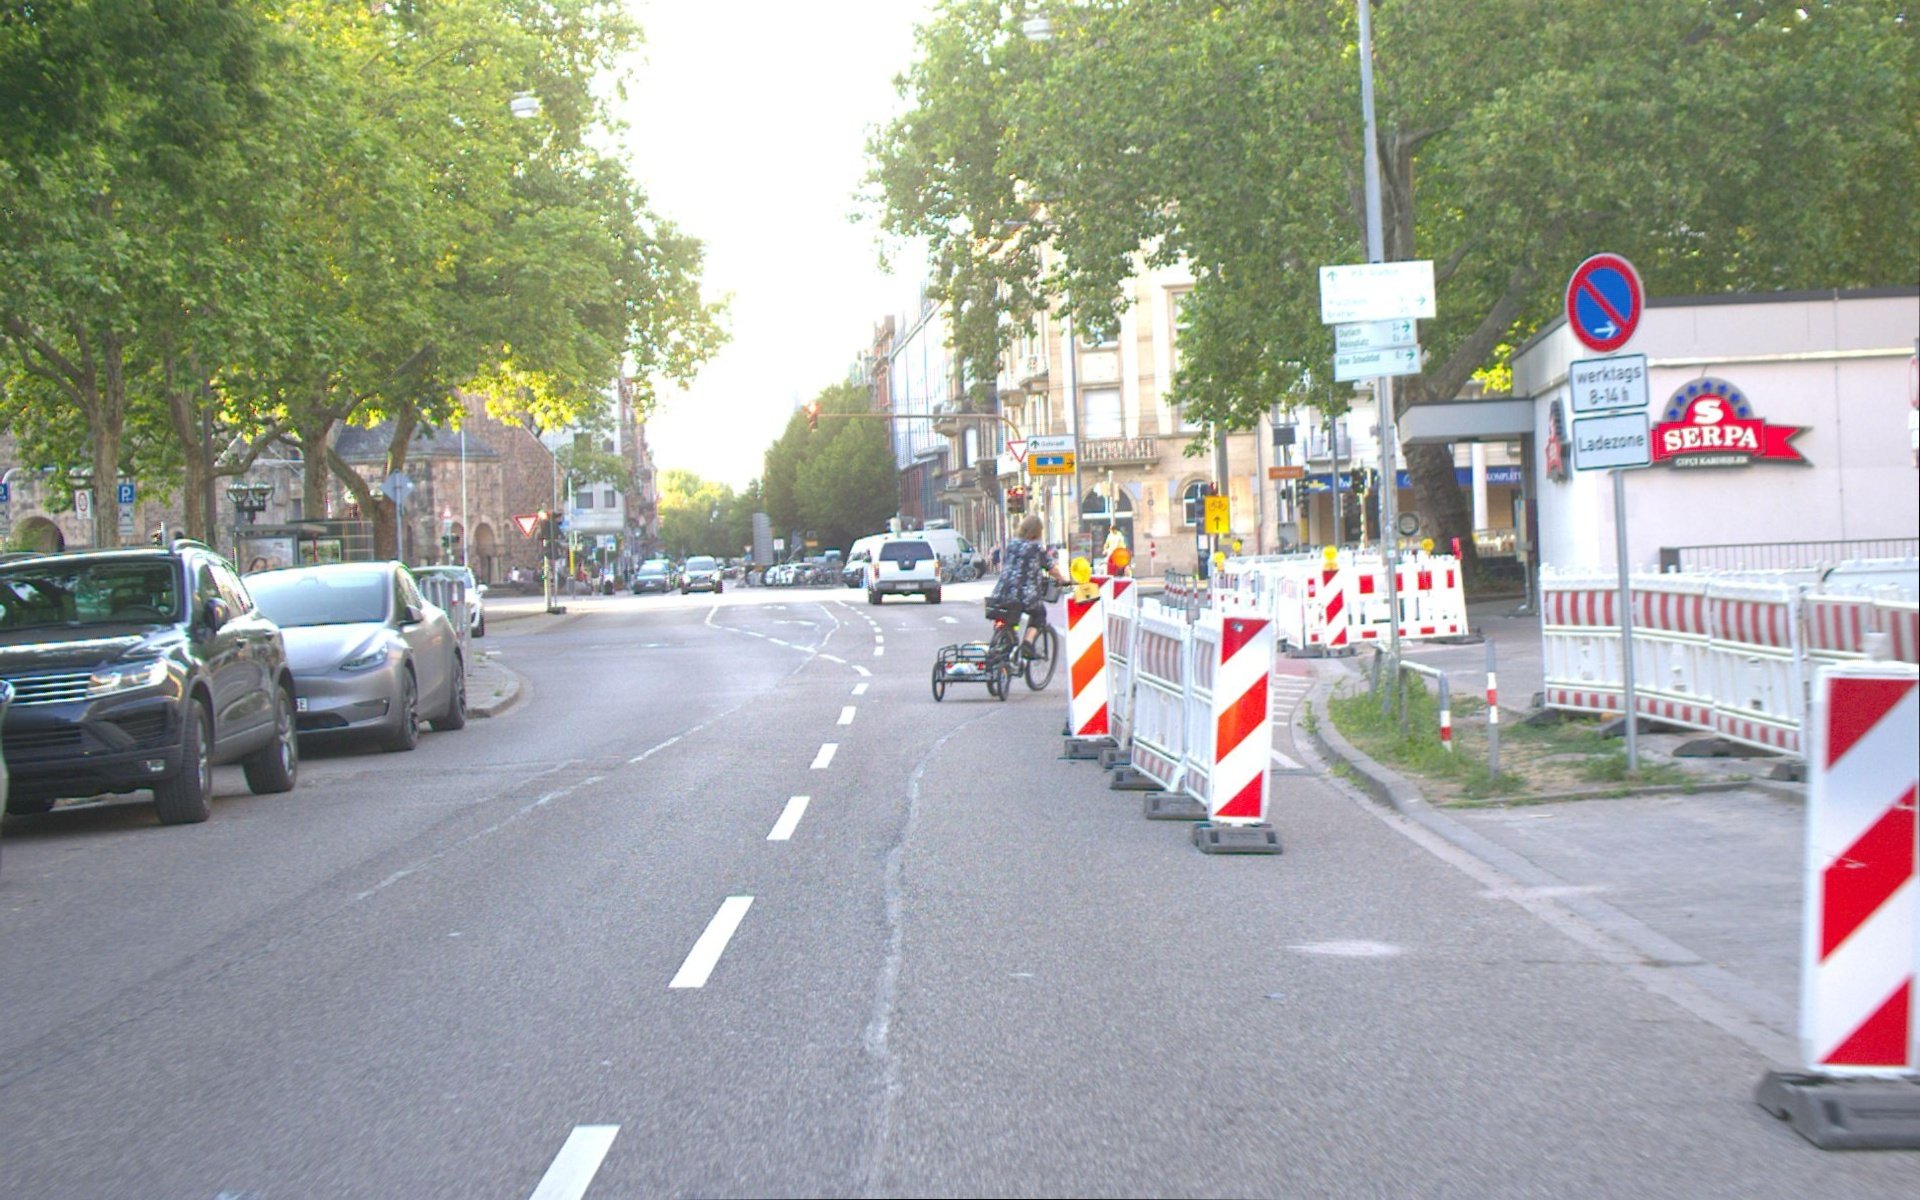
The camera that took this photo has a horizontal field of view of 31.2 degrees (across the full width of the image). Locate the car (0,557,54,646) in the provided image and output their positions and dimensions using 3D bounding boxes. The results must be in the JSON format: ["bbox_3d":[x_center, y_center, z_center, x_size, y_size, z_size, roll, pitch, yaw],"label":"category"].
[{"bbox_3d":[-20.831,0.100,70.938,1.820,1.794,4.627,-2,2,19],"label":"car"}]

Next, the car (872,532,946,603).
[{"bbox_3d":[-1.418,-0.889,93.422,1.866,1.808,4.000,-3,1,-2],"label":"car"}]

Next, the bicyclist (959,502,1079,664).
[{"bbox_3d":[0.613,-0.180,35.414,0.939,1.576,1.146,-5,0,11],"label":"bicyclist"}]

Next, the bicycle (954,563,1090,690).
[{"bbox_3d":[0.663,0.254,35.515,0.939,1.168,2.358,-5,0,11],"label":"bicycle"}]

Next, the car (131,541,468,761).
[{"bbox_3d":[-5.557,0.372,29.529,1.953,1.611,4.605,-4,1,-1],"label":"car"}]

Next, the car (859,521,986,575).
[{"bbox_3d":[-1.694,-2.374,155.744,5.807,2.280,2.071,-3,1,-43],"label":"car"}]

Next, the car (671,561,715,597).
[{"bbox_3d":[-12.473,-0.996,160.325,1.781,1.645,3.822,-1,0,-8],"label":"car"}]

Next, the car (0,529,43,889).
[{"bbox_3d":[-5.399,0.588,14.435,1.846,1.685,4.859,-4,1,-2],"label":"car"}]

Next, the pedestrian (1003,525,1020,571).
[{"bbox_3d":[2.116,-2.123,141.035,0.593,1.880,0.647,-2,1,2],"label":"pedestrian"}]

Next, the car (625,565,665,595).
[{"bbox_3d":[-17.424,-1.099,189.929,1.993,1.645,3.822,-1,0,-8],"label":"car"}]

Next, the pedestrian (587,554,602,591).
[{"bbox_3d":[-18.822,-1.421,177.171,0.593,1.880,0.585,-2,1,6],"label":"pedestrian"}]

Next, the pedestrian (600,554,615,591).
[{"bbox_3d":[-18.150,-1.424,177.151,0.593,1.880,0.553,-2,1,7],"label":"pedestrian"}]

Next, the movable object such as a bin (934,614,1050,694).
[{"bbox_3d":[0.324,0.526,33.872,0.939,0.686,0.993,-5,0,11],"label":"movable object such as a bin"}]

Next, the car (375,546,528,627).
[{"bbox_3d":[-10.231,-0.301,69.407,1.994,1.514,3.999,-2,1,7],"label":"car"}]

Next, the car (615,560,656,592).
[{"bbox_3d":[-17.210,-1.289,182.137,1.993,1.645,3.822,-1,0,-8],"label":"car"}]

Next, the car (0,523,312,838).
[{"bbox_3d":[-5.539,0.458,21.690,1.953,1.713,4.771,-4,1,-1],"label":"car"}]
